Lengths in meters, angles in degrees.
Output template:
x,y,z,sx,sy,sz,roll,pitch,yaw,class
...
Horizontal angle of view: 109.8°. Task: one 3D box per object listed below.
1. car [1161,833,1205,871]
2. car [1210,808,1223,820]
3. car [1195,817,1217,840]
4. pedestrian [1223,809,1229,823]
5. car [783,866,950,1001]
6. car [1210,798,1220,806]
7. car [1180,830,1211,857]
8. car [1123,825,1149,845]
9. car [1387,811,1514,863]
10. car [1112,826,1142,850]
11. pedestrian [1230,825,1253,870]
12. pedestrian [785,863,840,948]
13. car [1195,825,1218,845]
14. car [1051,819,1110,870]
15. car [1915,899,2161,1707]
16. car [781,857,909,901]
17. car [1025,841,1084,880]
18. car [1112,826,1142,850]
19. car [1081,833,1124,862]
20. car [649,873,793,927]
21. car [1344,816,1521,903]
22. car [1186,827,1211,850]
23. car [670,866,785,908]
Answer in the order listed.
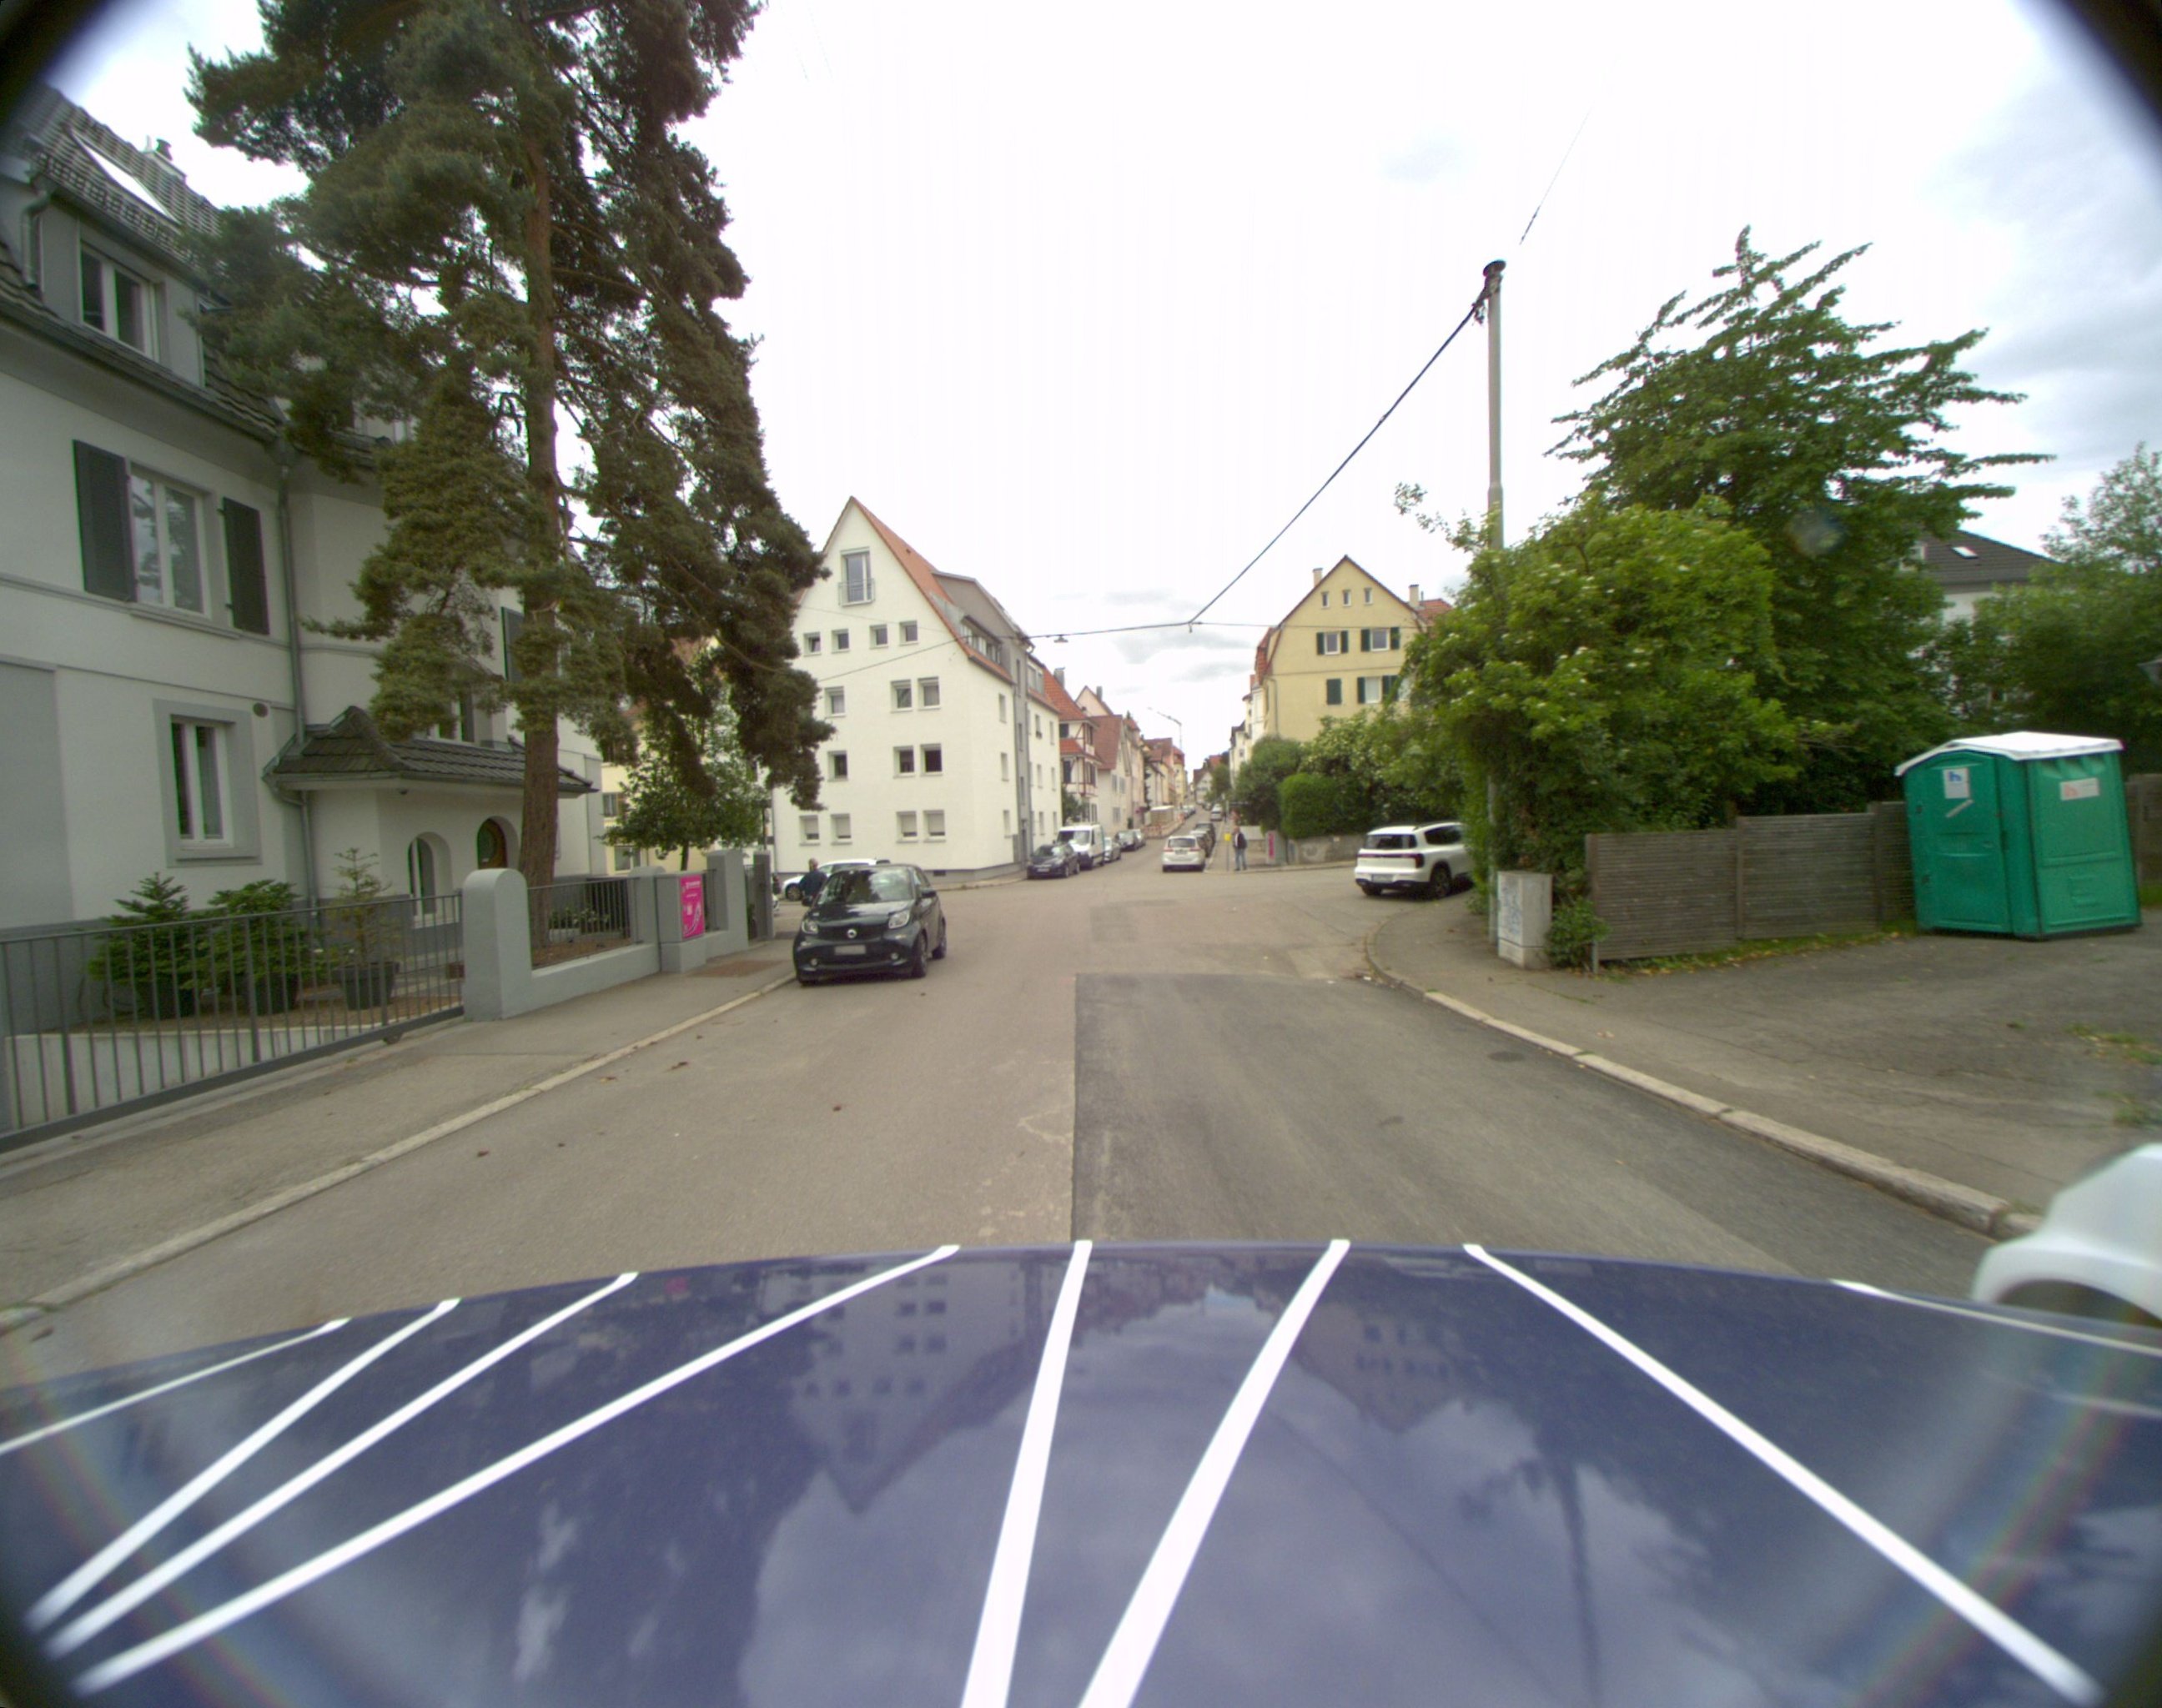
x,y,z,sx,sy,sz,roll,pitch,yaw,class
4.841,-0.160,35.768,1.807,1.650,4.153,-1,2,11,car
19.076,-5.682,107.111,1.661,1.558,4.000,-1,5,12,car
10.454,-2.165,63.807,1.752,1.787,4.149,-1,5,9,car
18.408,-4.819,96.220,0.616,1.648,0.812,-3,4,13,pedestrian
-2.923,1.015,10.932,1.576,1.523,2.867,-5,0,-3,car
29.241,-11.422,165.605,1.781,1.558,4.000,-2,5,13,car
7.443,-0.713,49.166,1.805,1.472,4.329,-1,4,11,car
4.530,-1.548,62.251,1.628,1.385,4.237,-3,3,10,car
13.428,-0.611,27.786,3.716,1.514,1.787,-5,1,3,car
3.515,-1.227,57.399,1.608,1.481,4.024,-3,4,11,car
6.521,-0.260,30.866,0.642,1.750,0.824,-3,2,27,pedestrian
-5.268,0.988,14.969,0.682,1.568,0.906,0,3,6,pedestrian
9.700,-1.490,58.679,1.641,1.391,3.704,-1,4,11,car
0.057,-0.601,40.753,1.997,2.409,5.294,-1,3,12,car
2.685,0.897,0.463,1.445,1.543,2.771,1,0,7,car
-9.156,0.967,29.579,4.352,1.441,1.765,-3,1,13,car
-1.142,0.250,34.717,1.821,1.478,4.288,-2,2,10,car
3.494,-1.248,57.496,1.780,1.711,4.001,-2,2,9,car
1.381,-0.443,46.624,1.827,1.437,4.384,-2,3,12,car
-10.707,1.363,22.722,3.474,1.255,1.671,-4,4,11,car
8.524,0.065,18.289,4.521,1.646,1.830,-6,2,-36,car
8.466,-1.129,54.493,1.641,1.421,4.124,0,4,11,car
-14.365,1.328,30.942,3.992,1.414,1.739,-3,1,16,car
